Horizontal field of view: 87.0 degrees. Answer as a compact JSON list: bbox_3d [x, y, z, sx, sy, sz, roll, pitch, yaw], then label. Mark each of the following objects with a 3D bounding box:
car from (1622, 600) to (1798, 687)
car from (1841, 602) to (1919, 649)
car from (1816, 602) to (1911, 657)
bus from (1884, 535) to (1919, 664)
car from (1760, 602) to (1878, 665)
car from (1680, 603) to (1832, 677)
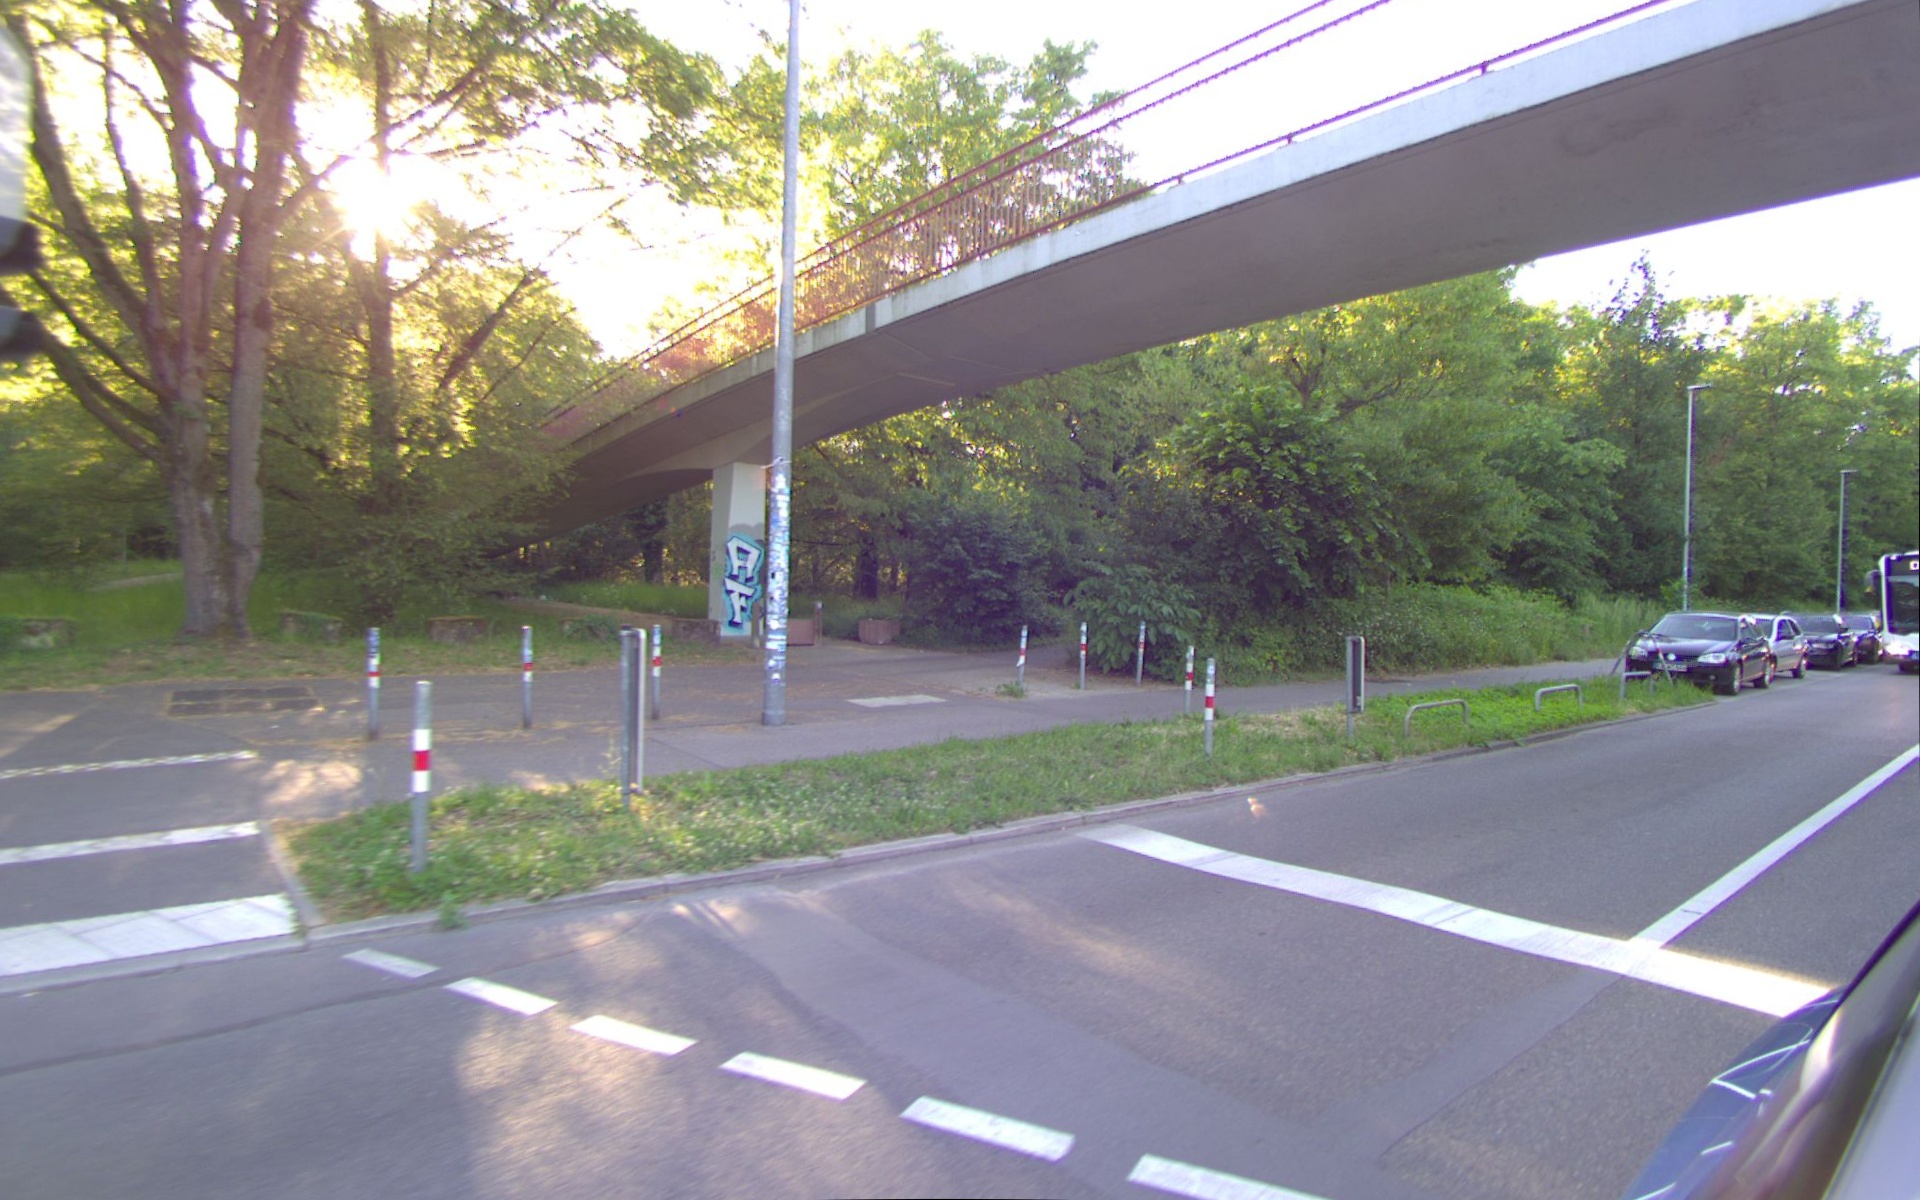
[{"bbox_3d":[14.715,0.761,19.771,4.309,1.472,1.778,0,2,-40],"label":"car"},{"bbox_3d":[31.997,0.844,35.086,3.873,1.472,1.589,0,2,-40],"label":"car"},{"bbox_3d":[27.559,0.842,30.814,4.814,1.472,1.639,0,2,-42],"label":"car"},{"bbox_3d":[28.171,0.005,27.670,12.659,3.086,2.810,0,0,-41],"label":"bus"},{"bbox_3d":[23.444,0.844,27.555,4.951,1.472,1.777,0,2,-42],"label":"car"},{"bbox_3d":[18.132,0.831,23.012,3.940,1.472,1.779,0,2,-38],"label":"car"}]
